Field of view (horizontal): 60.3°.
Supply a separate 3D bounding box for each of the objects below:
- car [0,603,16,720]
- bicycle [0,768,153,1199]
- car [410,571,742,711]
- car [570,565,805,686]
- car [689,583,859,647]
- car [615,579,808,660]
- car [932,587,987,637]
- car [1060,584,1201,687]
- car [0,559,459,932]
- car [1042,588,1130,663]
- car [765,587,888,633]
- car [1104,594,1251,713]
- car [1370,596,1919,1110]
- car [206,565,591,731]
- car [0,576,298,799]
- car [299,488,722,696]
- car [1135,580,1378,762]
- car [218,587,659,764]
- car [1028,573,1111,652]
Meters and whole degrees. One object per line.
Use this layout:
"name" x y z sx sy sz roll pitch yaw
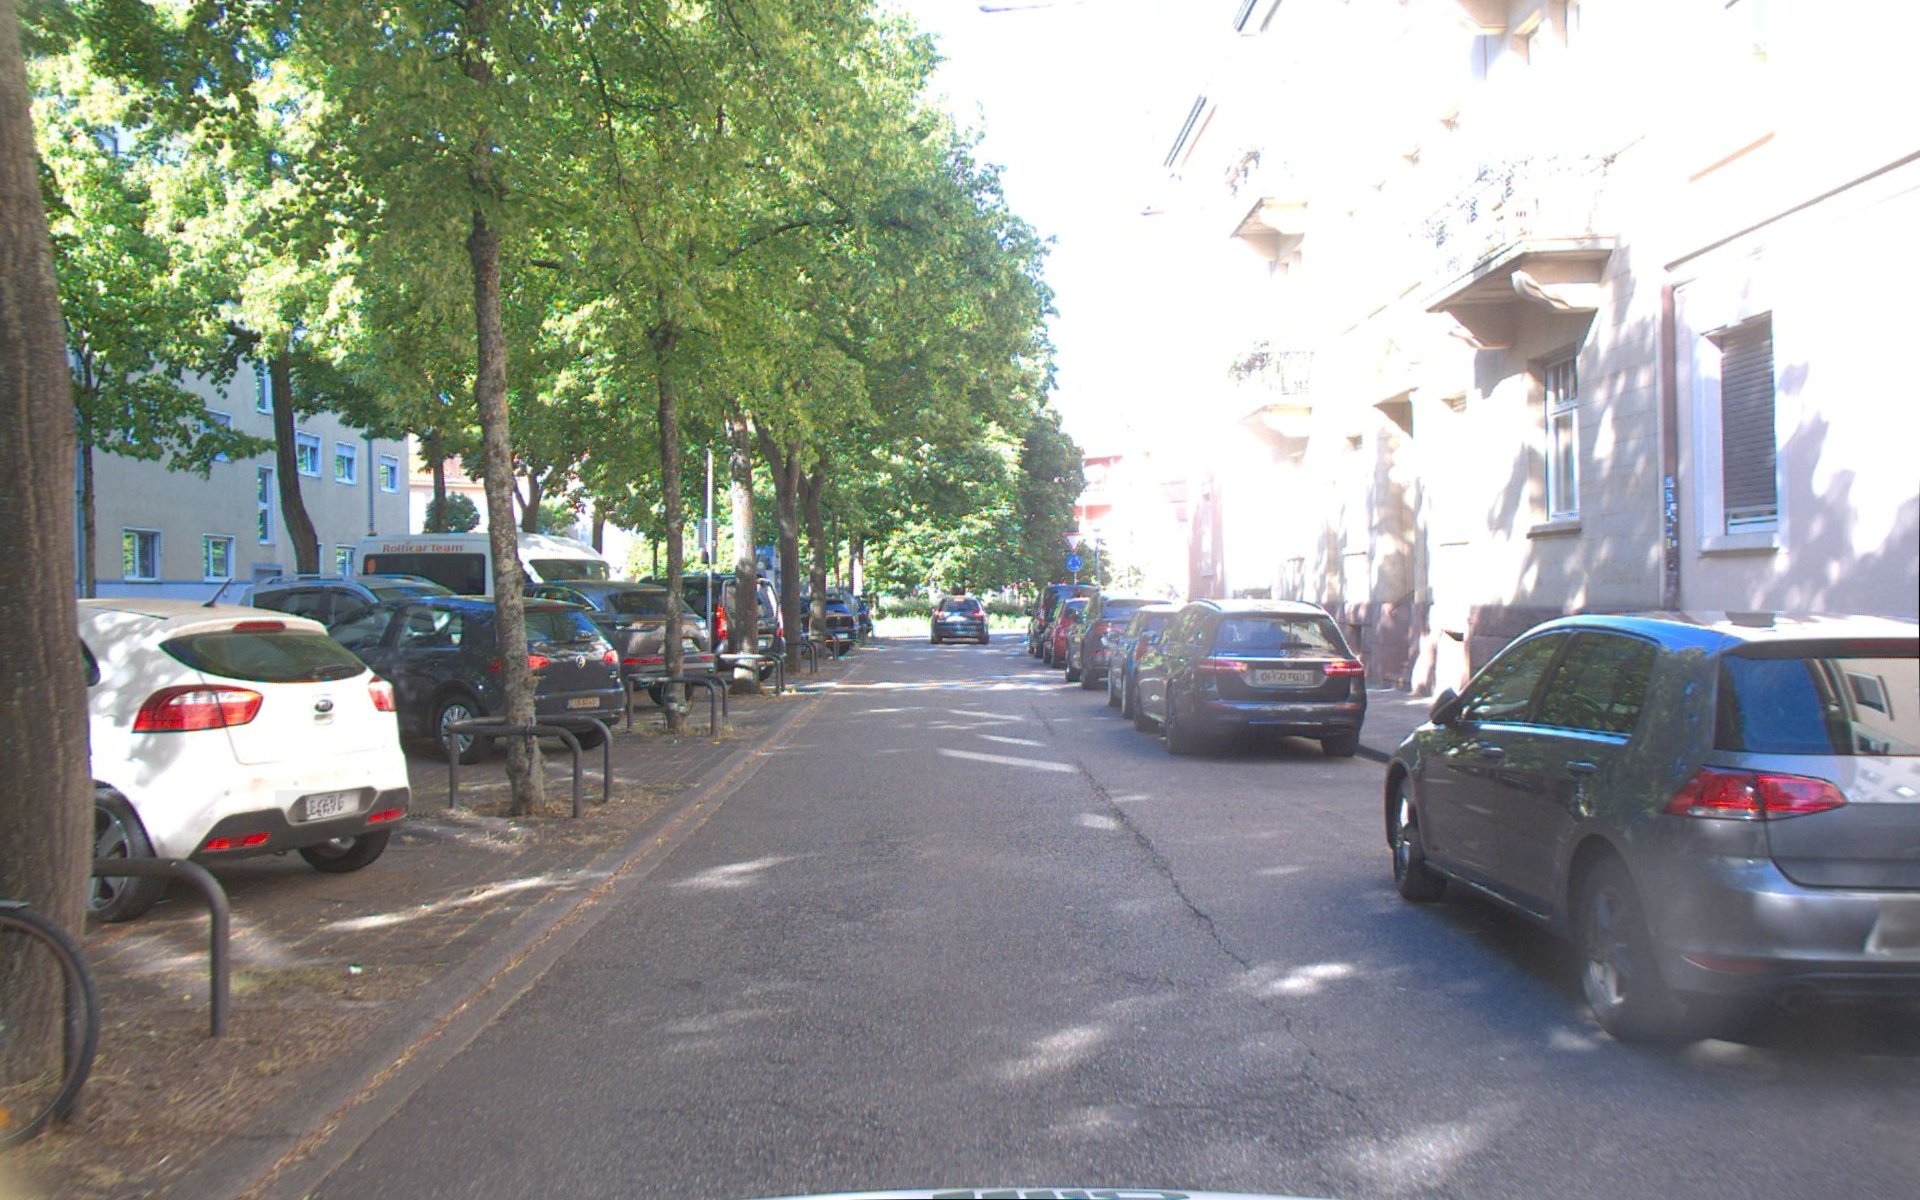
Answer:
"car" -15.311 0.995 23.080 1.706 1.752 4.557 -2 1 -2
"bicycle" -3.103 0.982 4.496 1.772 1.011 0.426 -1 0 15
"car" -5.053 0.470 21.662 4.180 1.670 1.653 1 0 28
"car" -4.731 0.407 28.610 3.772 1.921 1.838 -1 2 35
"car" -4.450 0.369 40.100 4.008 1.492 1.865 0 -1 -4
"car" -5.159 0.384 34.480 3.646 1.609 1.638 0 0 12
"car" 0.015 0.354 52.620 1.679 1.509 4.145 0 0 1
"car" 2.935 0.569 29.373 1.827 1.672 4.489 0 1 -3
"car" -4.668 0.616 8.758 3.609 1.624 1.772 0 0 25
"car" 2.831 0.539 37.771 1.612 1.564 3.999 2 0 -1
"car" -4.474 0.341 55.112 4.065 1.507 1.767 -1 -1 40
"car" 2.870 0.659 22.439 1.557 1.439 3.632 0 1 1
"car" 3.058 0.749 6.928 1.657 1.493 4.004 0 1 -1
"car" -6.729 0.552 19.767 4.294 1.808 1.897 -1 0 27
"car" -7.554 0.665 13.706 3.830 1.582 1.843 -2 1 30
"car" -7.119 -0.069 26.382 5.937 2.668 2.457 -5 -2 15
"car" 2.933 0.618 17.250 1.768 1.591 4.321 -2 1 1
"car" -5.007 0.653 15.800 4.018 1.507 1.729 -1 0 29
"car" 2.812 0.291 43.278 1.765 1.903 4.272 2 1 -1
